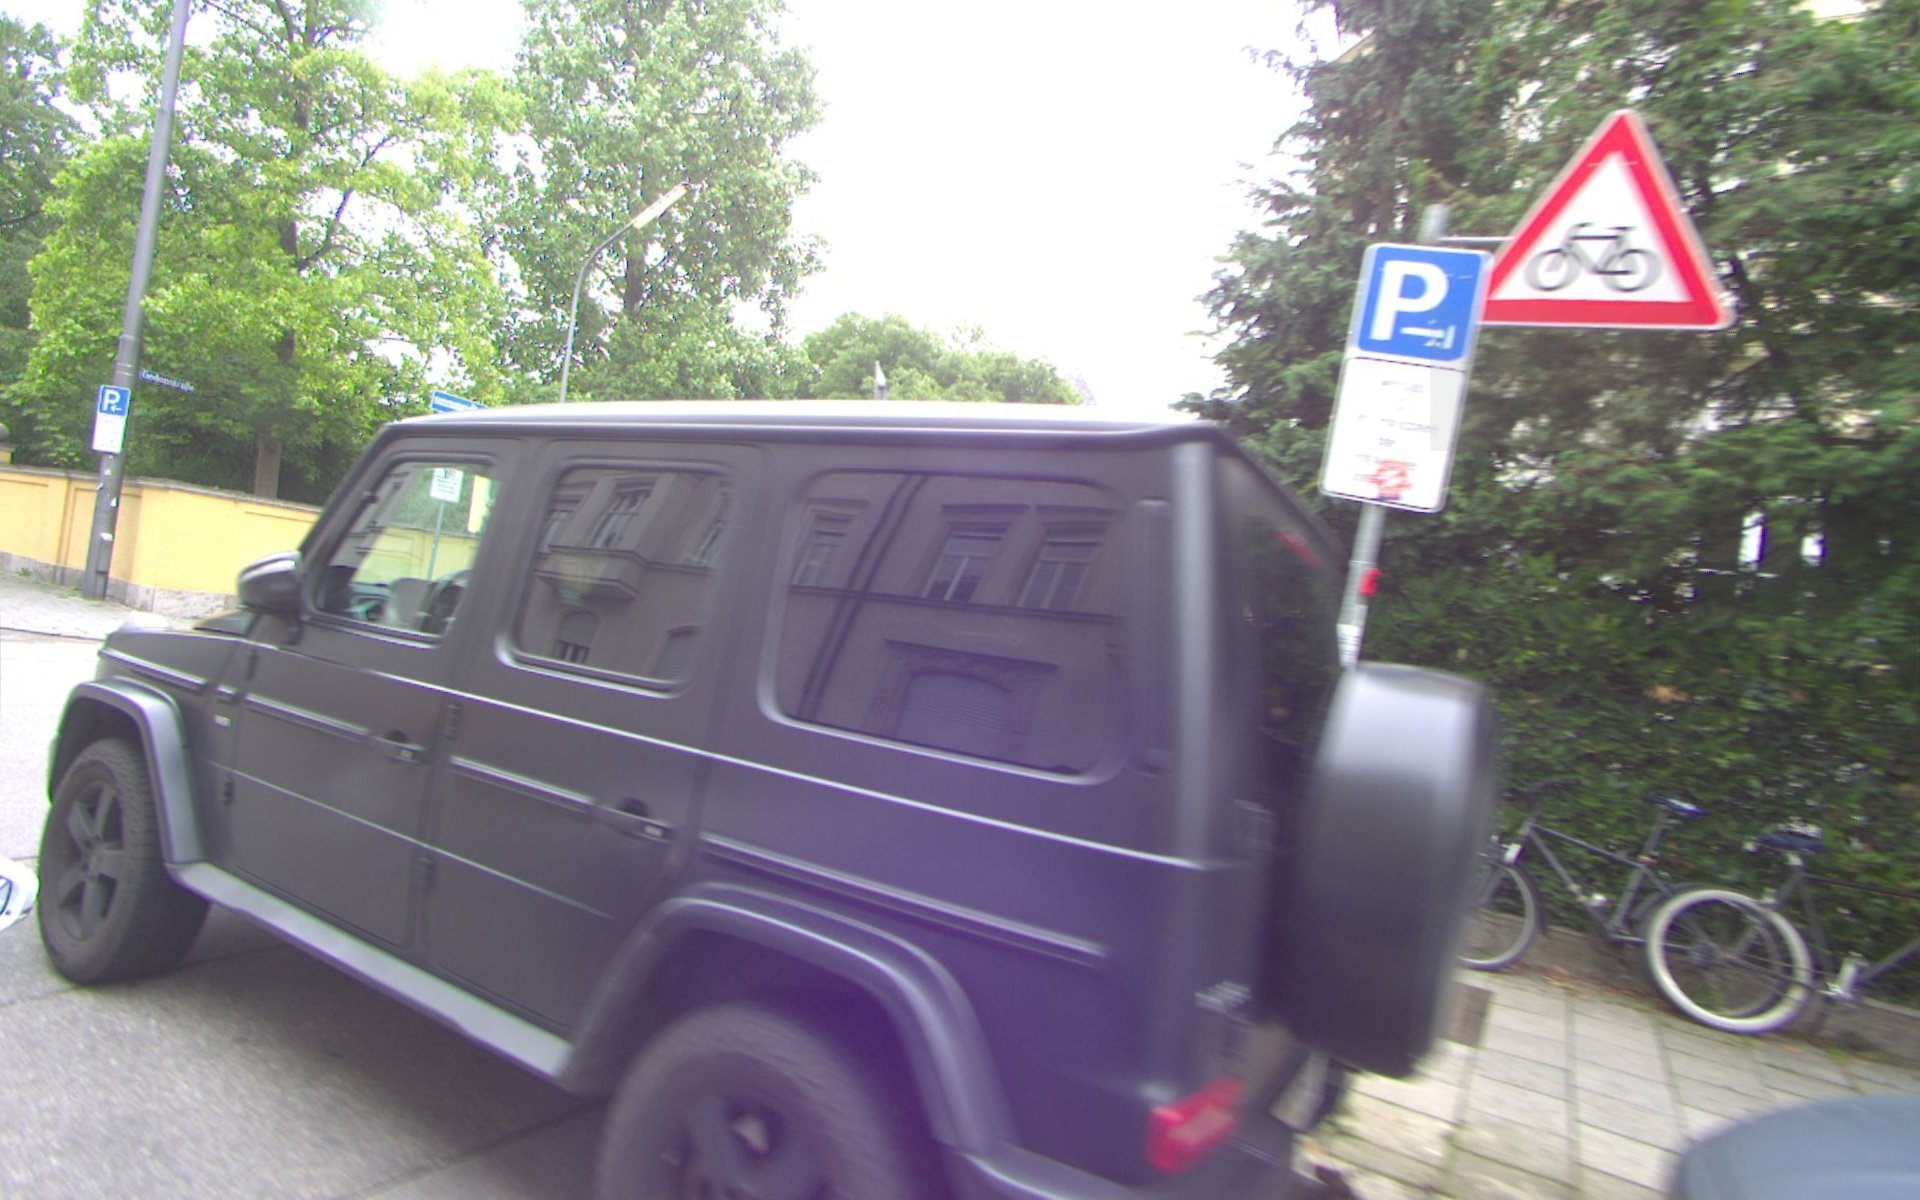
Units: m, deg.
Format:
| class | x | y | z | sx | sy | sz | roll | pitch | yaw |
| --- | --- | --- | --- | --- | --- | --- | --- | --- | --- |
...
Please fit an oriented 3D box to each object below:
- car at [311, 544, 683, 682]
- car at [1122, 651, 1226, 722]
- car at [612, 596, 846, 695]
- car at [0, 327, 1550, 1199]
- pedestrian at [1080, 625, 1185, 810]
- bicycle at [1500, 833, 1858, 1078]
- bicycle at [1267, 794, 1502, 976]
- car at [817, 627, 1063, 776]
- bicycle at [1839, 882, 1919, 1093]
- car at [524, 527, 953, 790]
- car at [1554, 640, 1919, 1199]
| class | x | y | z | sx | sy | sz | roll | pitch | yaw |
| --- | --- | --- | --- | --- | --- | --- | --- | --- | --- |
| car | -6.432 | 0.319 | 14.752 | 1.831 | 1.499 | 4.931 | 6 | -2 | 22 |
| car | 6.454 | 2.561 | 29.937 | 1.929 | 1.669 | 4.249 | 9 | 0 | 25 |
| car | -4.341 | 0.973 | 19.768 | 1.888 | 1.499 | 4.607 | 6 | -2 | 26 |
| car | -0.874 | 0.481 | 3.269 | 4.587 | 1.976 | 1.956 | 8 | -2 | 31 |
| pedestrian | 1.757 | 1.157 | 10.203 | 0.684 | 1.725 | 0.735 | 7 | 2 | 29 |
| bicycle | 3.516 | 1.710 | 5.039 | 1.332 | 0.743 | 0.513 | 7 | -1 | 33 |
| bicycle | 2.421 | 1.584 | 5.757 | 1.105 | 0.691 | 0.513 | 7 | -1 | 33 |
| car | -0.128 | 1.503 | 15.496 | 1.929 | 1.669 | 4.249 | 9 | 0 | 25 |
| bicycle | 4.695 | 1.790 | 4.254 | 1.332 | 0.791 | 0.513 | 7 | -1 | 33 |
| car | -2.010 | 0.629 | 10.713 | 1.869 | 1.973 | 4.543 | 9 | 0 | 25 |
| car | 2.667 | 1.094 | 0.875 | 3.569 | 1.534 | 1.729 | 6 | -4 | 30 |
